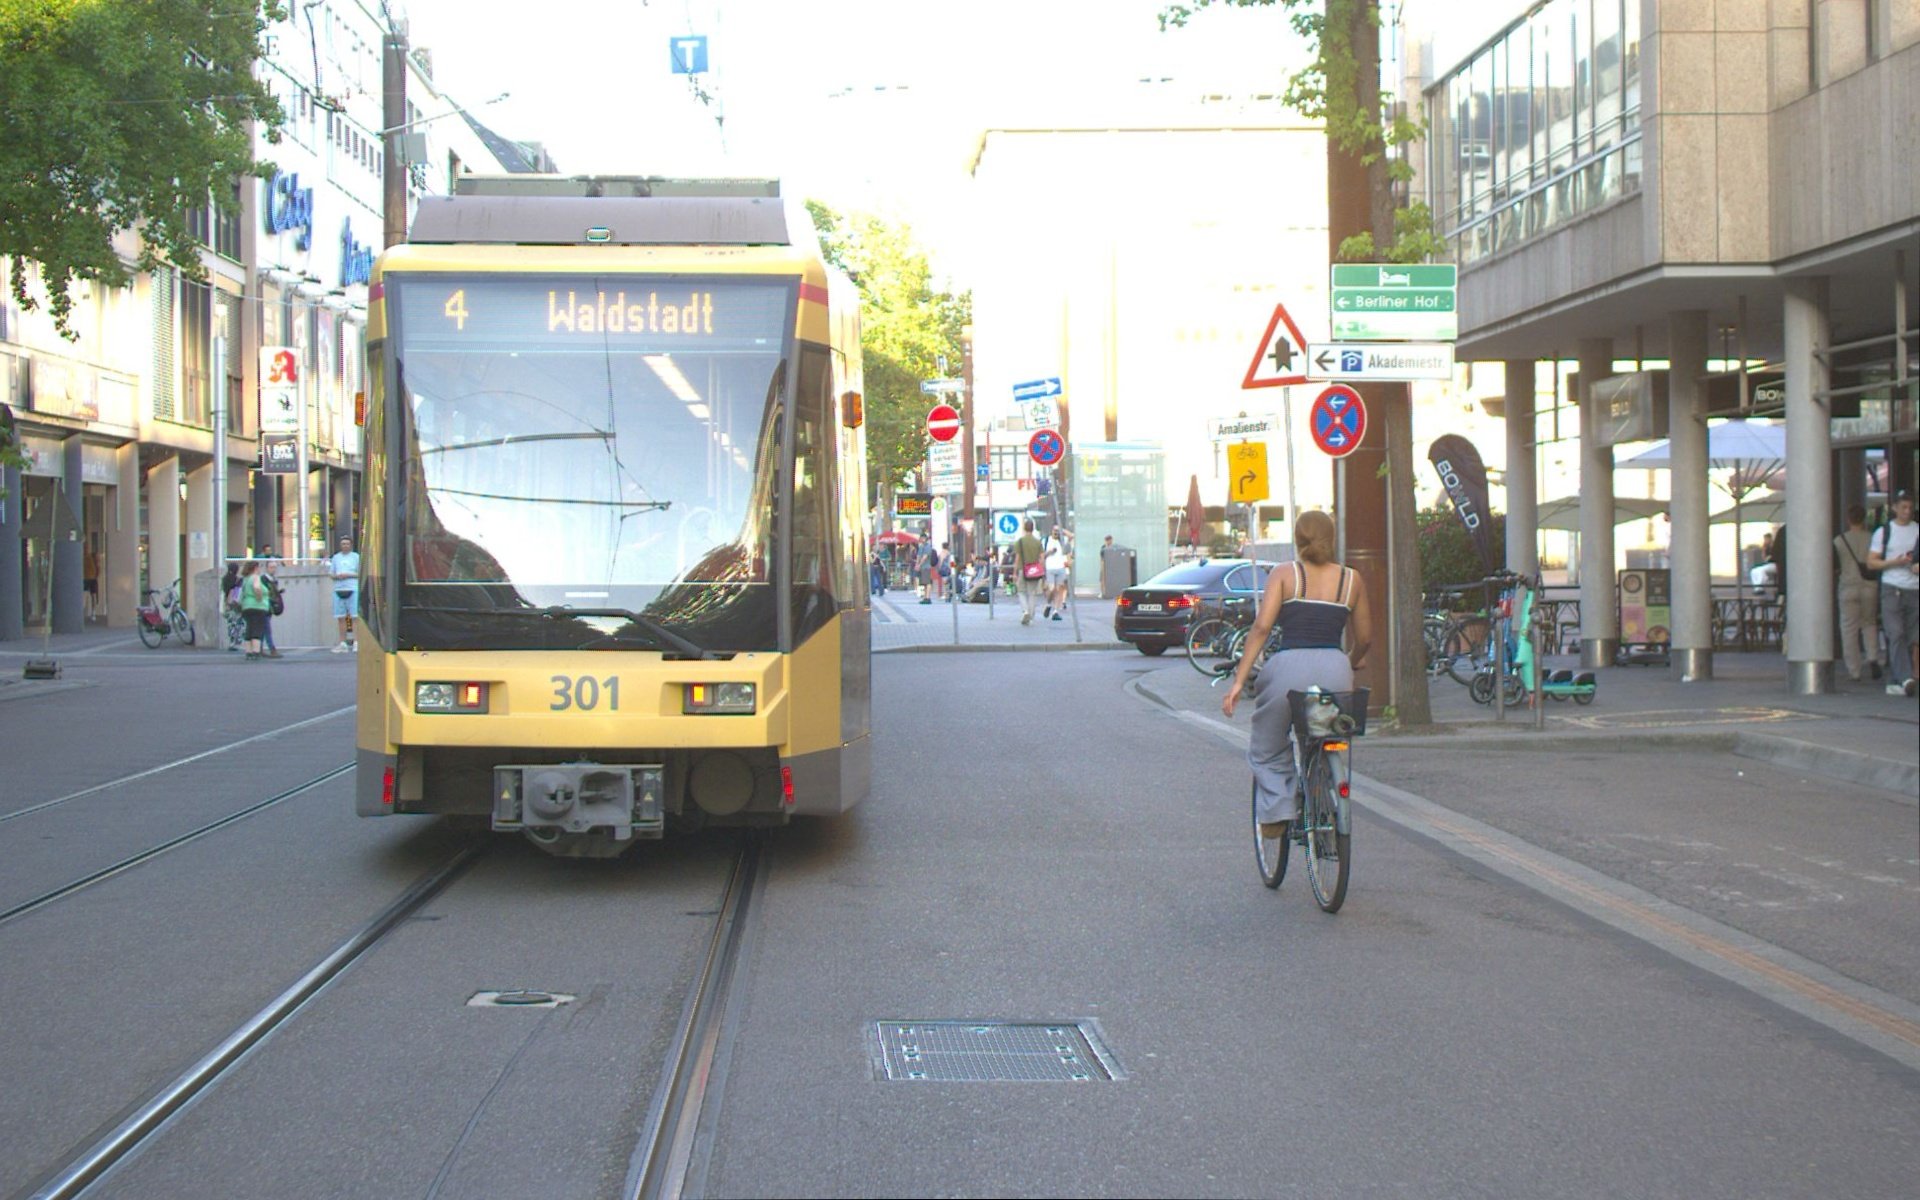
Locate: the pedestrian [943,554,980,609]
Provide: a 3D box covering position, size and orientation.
[{"bbox_3d":[0.038,-0.525,98.707,0.768,1.573,0.793,0,1,28],"label":"pedestrian"}]

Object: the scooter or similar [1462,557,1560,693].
[{"bbox_3d":[5.259,0.228,32.791,0.393,1.247,1.189,0,2,37],"label":"scooter or similar"}]

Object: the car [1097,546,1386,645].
[{"bbox_3d":[4.171,-0.048,50.758,4.039,1.404,1.775,1,0,-35],"label":"car"}]

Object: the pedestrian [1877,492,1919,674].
[{"bbox_3d":[9.853,-0.178,35.335,0.663,1.842,0.719,-1,0,4],"label":"pedestrian"}]

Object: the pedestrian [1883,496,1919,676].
[{"bbox_3d":[9.694,-0.146,34.420,0.663,1.781,0.719,-1,0,-1],"label":"pedestrian"}]

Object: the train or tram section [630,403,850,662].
[{"bbox_3d":[-3.094,-0.981,51.326,2.800,3.308,14.510,0,1,-2],"label":"train or tram section"}]

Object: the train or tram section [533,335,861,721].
[{"bbox_3d":[-2.536,-0.742,36.798,2.800,3.308,14.510,0,1,-2],"label":"train or tram section"}]

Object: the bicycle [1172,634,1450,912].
[{"bbox_3d":[1.510,0.725,15.183,0.815,1.069,2.114,1,1,-5],"label":"bicycle"}]

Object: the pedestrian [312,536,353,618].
[{"bbox_3d":[-13.341,-0.488,73.109,0.605,1.719,0.626,-1,0,45],"label":"pedestrian"}]

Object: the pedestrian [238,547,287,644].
[{"bbox_3d":[-11.170,-0.071,55.053,0.684,1.536,0.605,0,0,-3],"label":"pedestrian"}]

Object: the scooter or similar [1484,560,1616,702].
[{"bbox_3d":[5.369,0.272,31.269,1.112,1.247,0.497,-2,2,-32],"label":"scooter or similar"}]

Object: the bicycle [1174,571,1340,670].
[{"bbox_3d":[3.526,0.236,40.916,1.852,1.105,0.667,-2,1,-4],"label":"bicycle"}]

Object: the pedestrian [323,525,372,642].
[{"bbox_3d":[-10.122,-0.271,56.823,0.773,1.919,0.709,0,0,-9],"label":"pedestrian"}]

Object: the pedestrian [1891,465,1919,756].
[{"bbox_3d":[6.382,0.061,21.887,0.668,1.833,0.708,-1,0,-2],"label":"pedestrian"}]

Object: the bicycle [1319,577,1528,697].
[{"bbox_3d":[4.820,0.375,35.809,1.995,1.151,0.726,-2,1,-6],"label":"bicycle"}]

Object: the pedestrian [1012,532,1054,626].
[{"bbox_3d":[1.346,-0.382,63.400,0.718,1.719,0.709,0,0,-2],"label":"pedestrian"}]

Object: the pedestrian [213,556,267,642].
[{"bbox_3d":[-12.085,-0.020,57.684,0.555,1.429,0.684,-1,0,36],"label":"pedestrian"}]

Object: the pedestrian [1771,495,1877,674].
[{"bbox_3d":[8.430,-0.153,33.575,0.763,1.713,0.923,-1,0,0],"label":"pedestrian"}]

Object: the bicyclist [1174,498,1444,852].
[{"bbox_3d":[1.522,0.317,15.148,0.997,1.497,0.857,1,1,-5],"label":"bicyclist"}]

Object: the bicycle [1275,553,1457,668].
[{"bbox_3d":[4.659,0.112,39.492,1.914,1.218,0.763,-2,1,-6],"label":"bicycle"}]

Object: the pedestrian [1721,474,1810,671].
[{"bbox_3d":[8.353,-0.286,35.661,0.686,2.007,0.783,-1,1,-1],"label":"pedestrian"}]

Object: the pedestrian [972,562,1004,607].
[{"bbox_3d":[0.764,-0.438,93.690,0.792,1.217,0.769,0,1,-5],"label":"pedestrian"}]

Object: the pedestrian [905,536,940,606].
[{"bbox_3d":[-0.983,-0.763,90.496,0.733,1.817,0.820,0,1,-16],"label":"pedestrian"}]

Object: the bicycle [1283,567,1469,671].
[{"bbox_3d":[4.680,0.209,38.746,1.914,1.074,0.763,-2,1,-6],"label":"bicycle"}]

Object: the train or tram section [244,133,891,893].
[{"bbox_3d":[-1.985,-0.502,22.268,2.800,3.308,14.510,0,1,-2],"label":"train or tram section"}]

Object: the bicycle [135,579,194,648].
[{"bbox_3d":[-13.661,0.227,59.088,0.498,1.104,1.800,0,2,3],"label":"bicycle"}]

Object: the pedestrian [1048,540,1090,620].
[{"bbox_3d":[2.494,-0.465,78.707,0.733,1.817,0.820,0,1,-16],"label":"pedestrian"}]

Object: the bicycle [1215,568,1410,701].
[{"bbox_3d":[3.752,0.359,36.665,1.914,1.328,0.726,-2,1,-6],"label":"bicycle"}]

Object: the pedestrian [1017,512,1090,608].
[{"bbox_3d":[1.833,-0.778,67.509,1.013,1.857,1.042,0,0,-32],"label":"pedestrian"}]

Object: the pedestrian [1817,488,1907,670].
[{"bbox_3d":[8.993,-0.207,34.282,0.663,1.781,0.719,-1,0,-1],"label":"pedestrian"}]

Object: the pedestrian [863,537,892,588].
[{"bbox_3d":[-2.649,-1.206,110.369,0.767,1.655,0.794,0,1,10],"label":"pedestrian"}]

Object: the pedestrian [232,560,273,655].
[{"bbox_3d":[-11.151,0.124,54.209,0.603,1.489,0.555,0,0,-9],"label":"pedestrian"}]

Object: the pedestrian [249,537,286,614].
[{"bbox_3d":[-15.561,-0.540,77.264,0.713,1.719,0.709,0,0,-3],"label":"pedestrian"}]

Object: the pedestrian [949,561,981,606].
[{"bbox_3d":[0.135,-0.449,94.479,0.792,1.217,0.769,0,1,-5],"label":"pedestrian"}]

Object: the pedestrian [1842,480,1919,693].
[{"bbox_3d":[8.222,-0.120,30.197,0.668,1.833,0.880,-1,0,-2],"label":"pedestrian"}]

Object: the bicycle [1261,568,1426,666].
[{"bbox_3d":[4.591,0.198,41.212,1.852,1.105,0.667,-2,1,-4],"label":"bicycle"}]

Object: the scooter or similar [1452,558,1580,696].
[{"bbox_3d":[5.213,0.245,32.200,1.187,1.247,0.393,-2,1,-31],"label":"scooter or similar"}]

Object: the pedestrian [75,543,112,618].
[{"bbox_3d":[-20.063,-0.443,79.619,0.713,1.719,0.709,0,0,-3],"label":"pedestrian"}]

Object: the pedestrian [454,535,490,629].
[{"bbox_3d":[-10.020,-0.362,70.579,0.713,1.918,0.709,0,0,-7],"label":"pedestrian"}]

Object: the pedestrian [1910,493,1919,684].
[{"bbox_3d":[9.245,-0.112,31.823,0.663,1.781,0.719,-1,0,-1],"label":"pedestrian"}]
